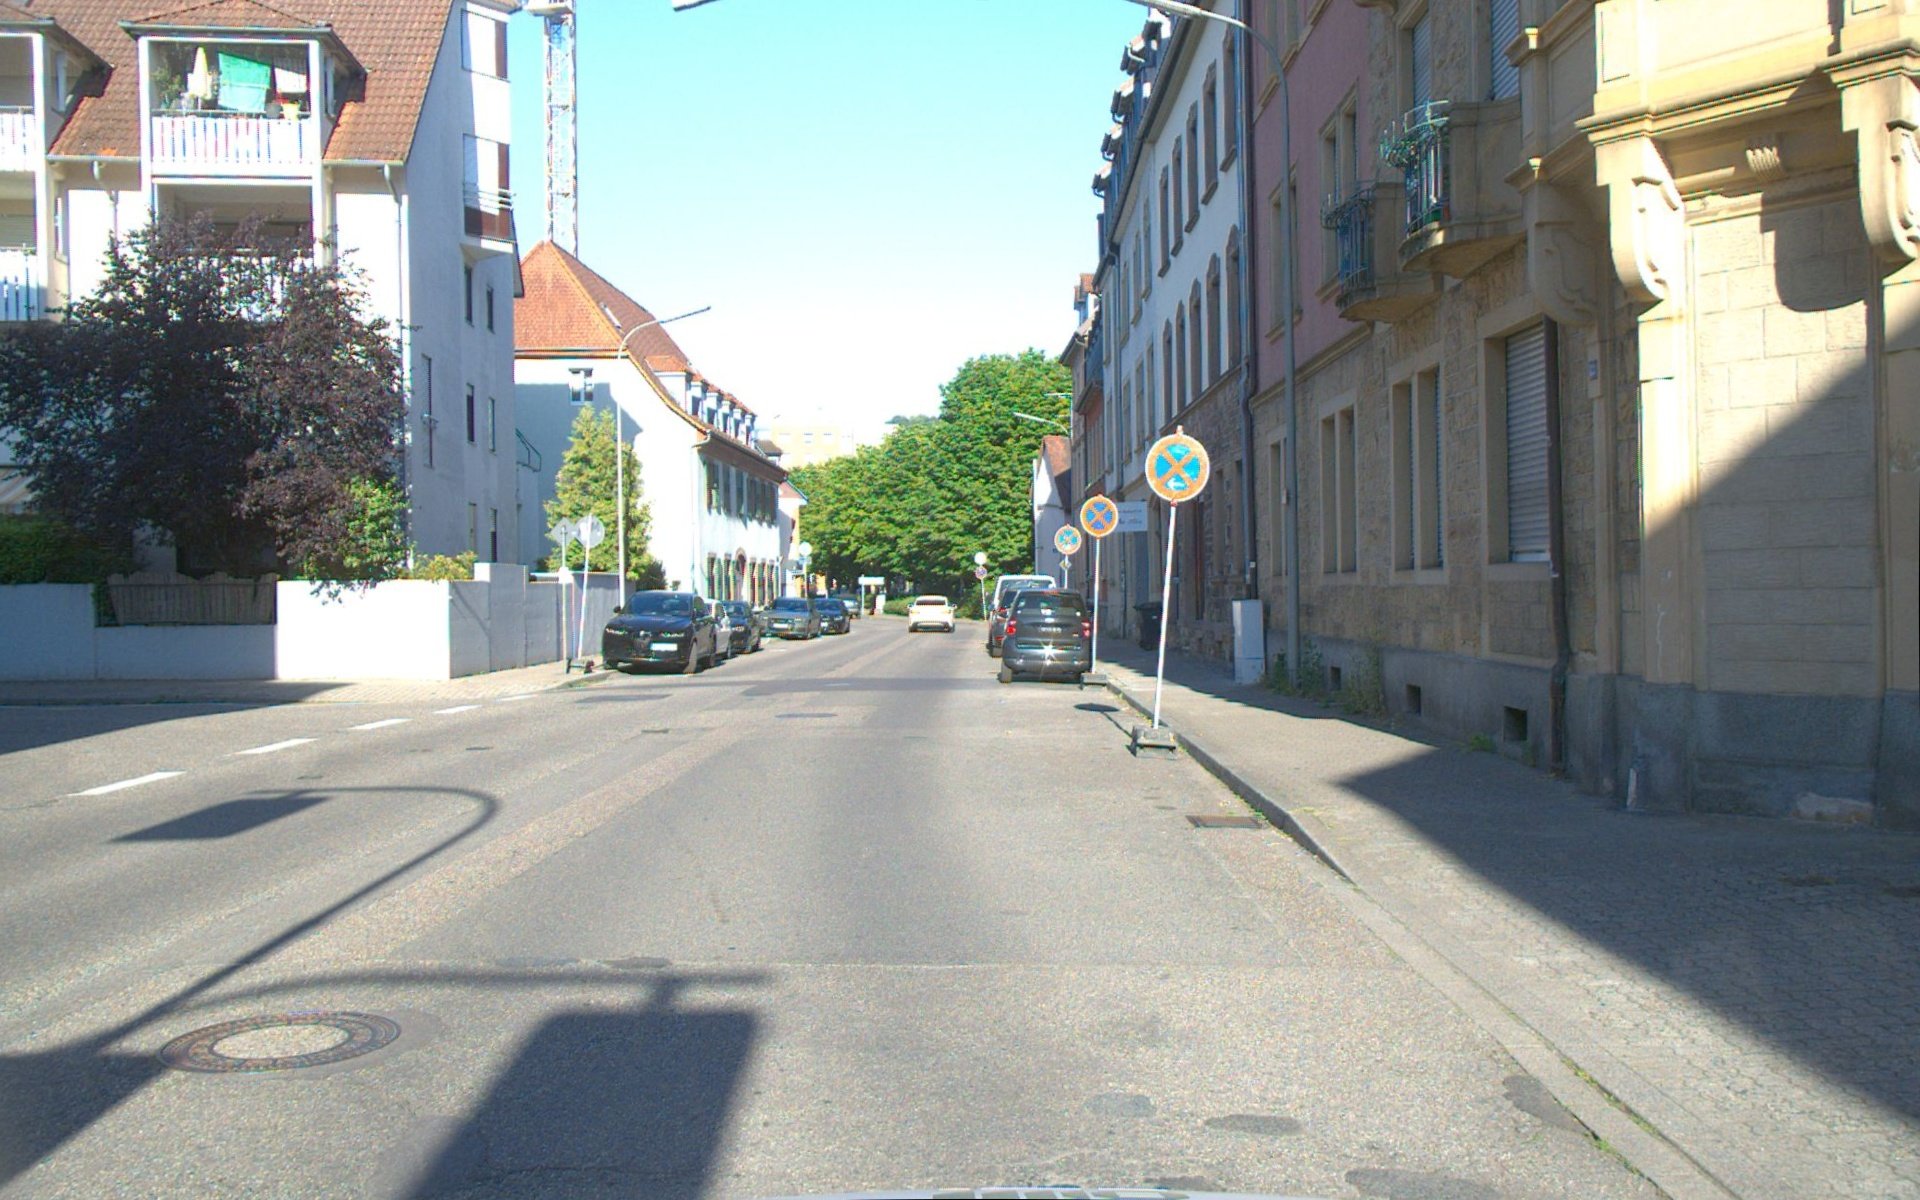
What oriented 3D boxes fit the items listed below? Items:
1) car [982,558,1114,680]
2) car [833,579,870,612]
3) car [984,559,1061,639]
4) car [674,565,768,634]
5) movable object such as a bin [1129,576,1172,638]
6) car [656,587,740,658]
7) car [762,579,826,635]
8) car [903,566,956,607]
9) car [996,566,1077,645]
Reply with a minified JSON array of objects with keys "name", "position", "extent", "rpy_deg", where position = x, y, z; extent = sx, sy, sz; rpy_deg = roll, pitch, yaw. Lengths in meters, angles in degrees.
[{"name":"car","position":[1.429,0.259,28.360],"extent":[1.970,1.885,4.000],"rpy_deg":[0,2,-1]},{"name":"car","position":[-7.251,-0.317,110.063],"extent":[1.957,2.048,3.991],"rpy_deg":[-2,2,-10]},{"name":"car","position":[1.642,-0.073,44.644],"extent":[1.804,1.938,4.000],"rpy_deg":[-2,2,-1]},{"name":"car","position":[-6.555,-0.060,45.720],"extent":[2.050,1.659,3.822],"rpy_deg":[-2,2,-1]},{"name":"movable object such as a bin","position":[4.527,0.163,39.302],"extent":[0.854,1.401,0.685],"rpy_deg":[-3,2,-3]},{"name":"car","position":[-6.303,0.519,40.019],"extent":[1.522,1.483,3.061],"rpy_deg":[-2,2,-1]},{"name":"car","position":[-5.990,0.220,60.094],"extent":[1.872,1.790,4.128],"rpy_deg":[-2,2,-1]},{"name":"car","position":[-1.240,-0.545,65.302],"extent":[1.953,1.492,3.999],"rpy_deg":[-2,2,-2]},{"name":"car","position":[1.832,0.083,39.849],"extent":[1.780,1.659,4.002],"rpy_deg":[-2,2,2]}]
